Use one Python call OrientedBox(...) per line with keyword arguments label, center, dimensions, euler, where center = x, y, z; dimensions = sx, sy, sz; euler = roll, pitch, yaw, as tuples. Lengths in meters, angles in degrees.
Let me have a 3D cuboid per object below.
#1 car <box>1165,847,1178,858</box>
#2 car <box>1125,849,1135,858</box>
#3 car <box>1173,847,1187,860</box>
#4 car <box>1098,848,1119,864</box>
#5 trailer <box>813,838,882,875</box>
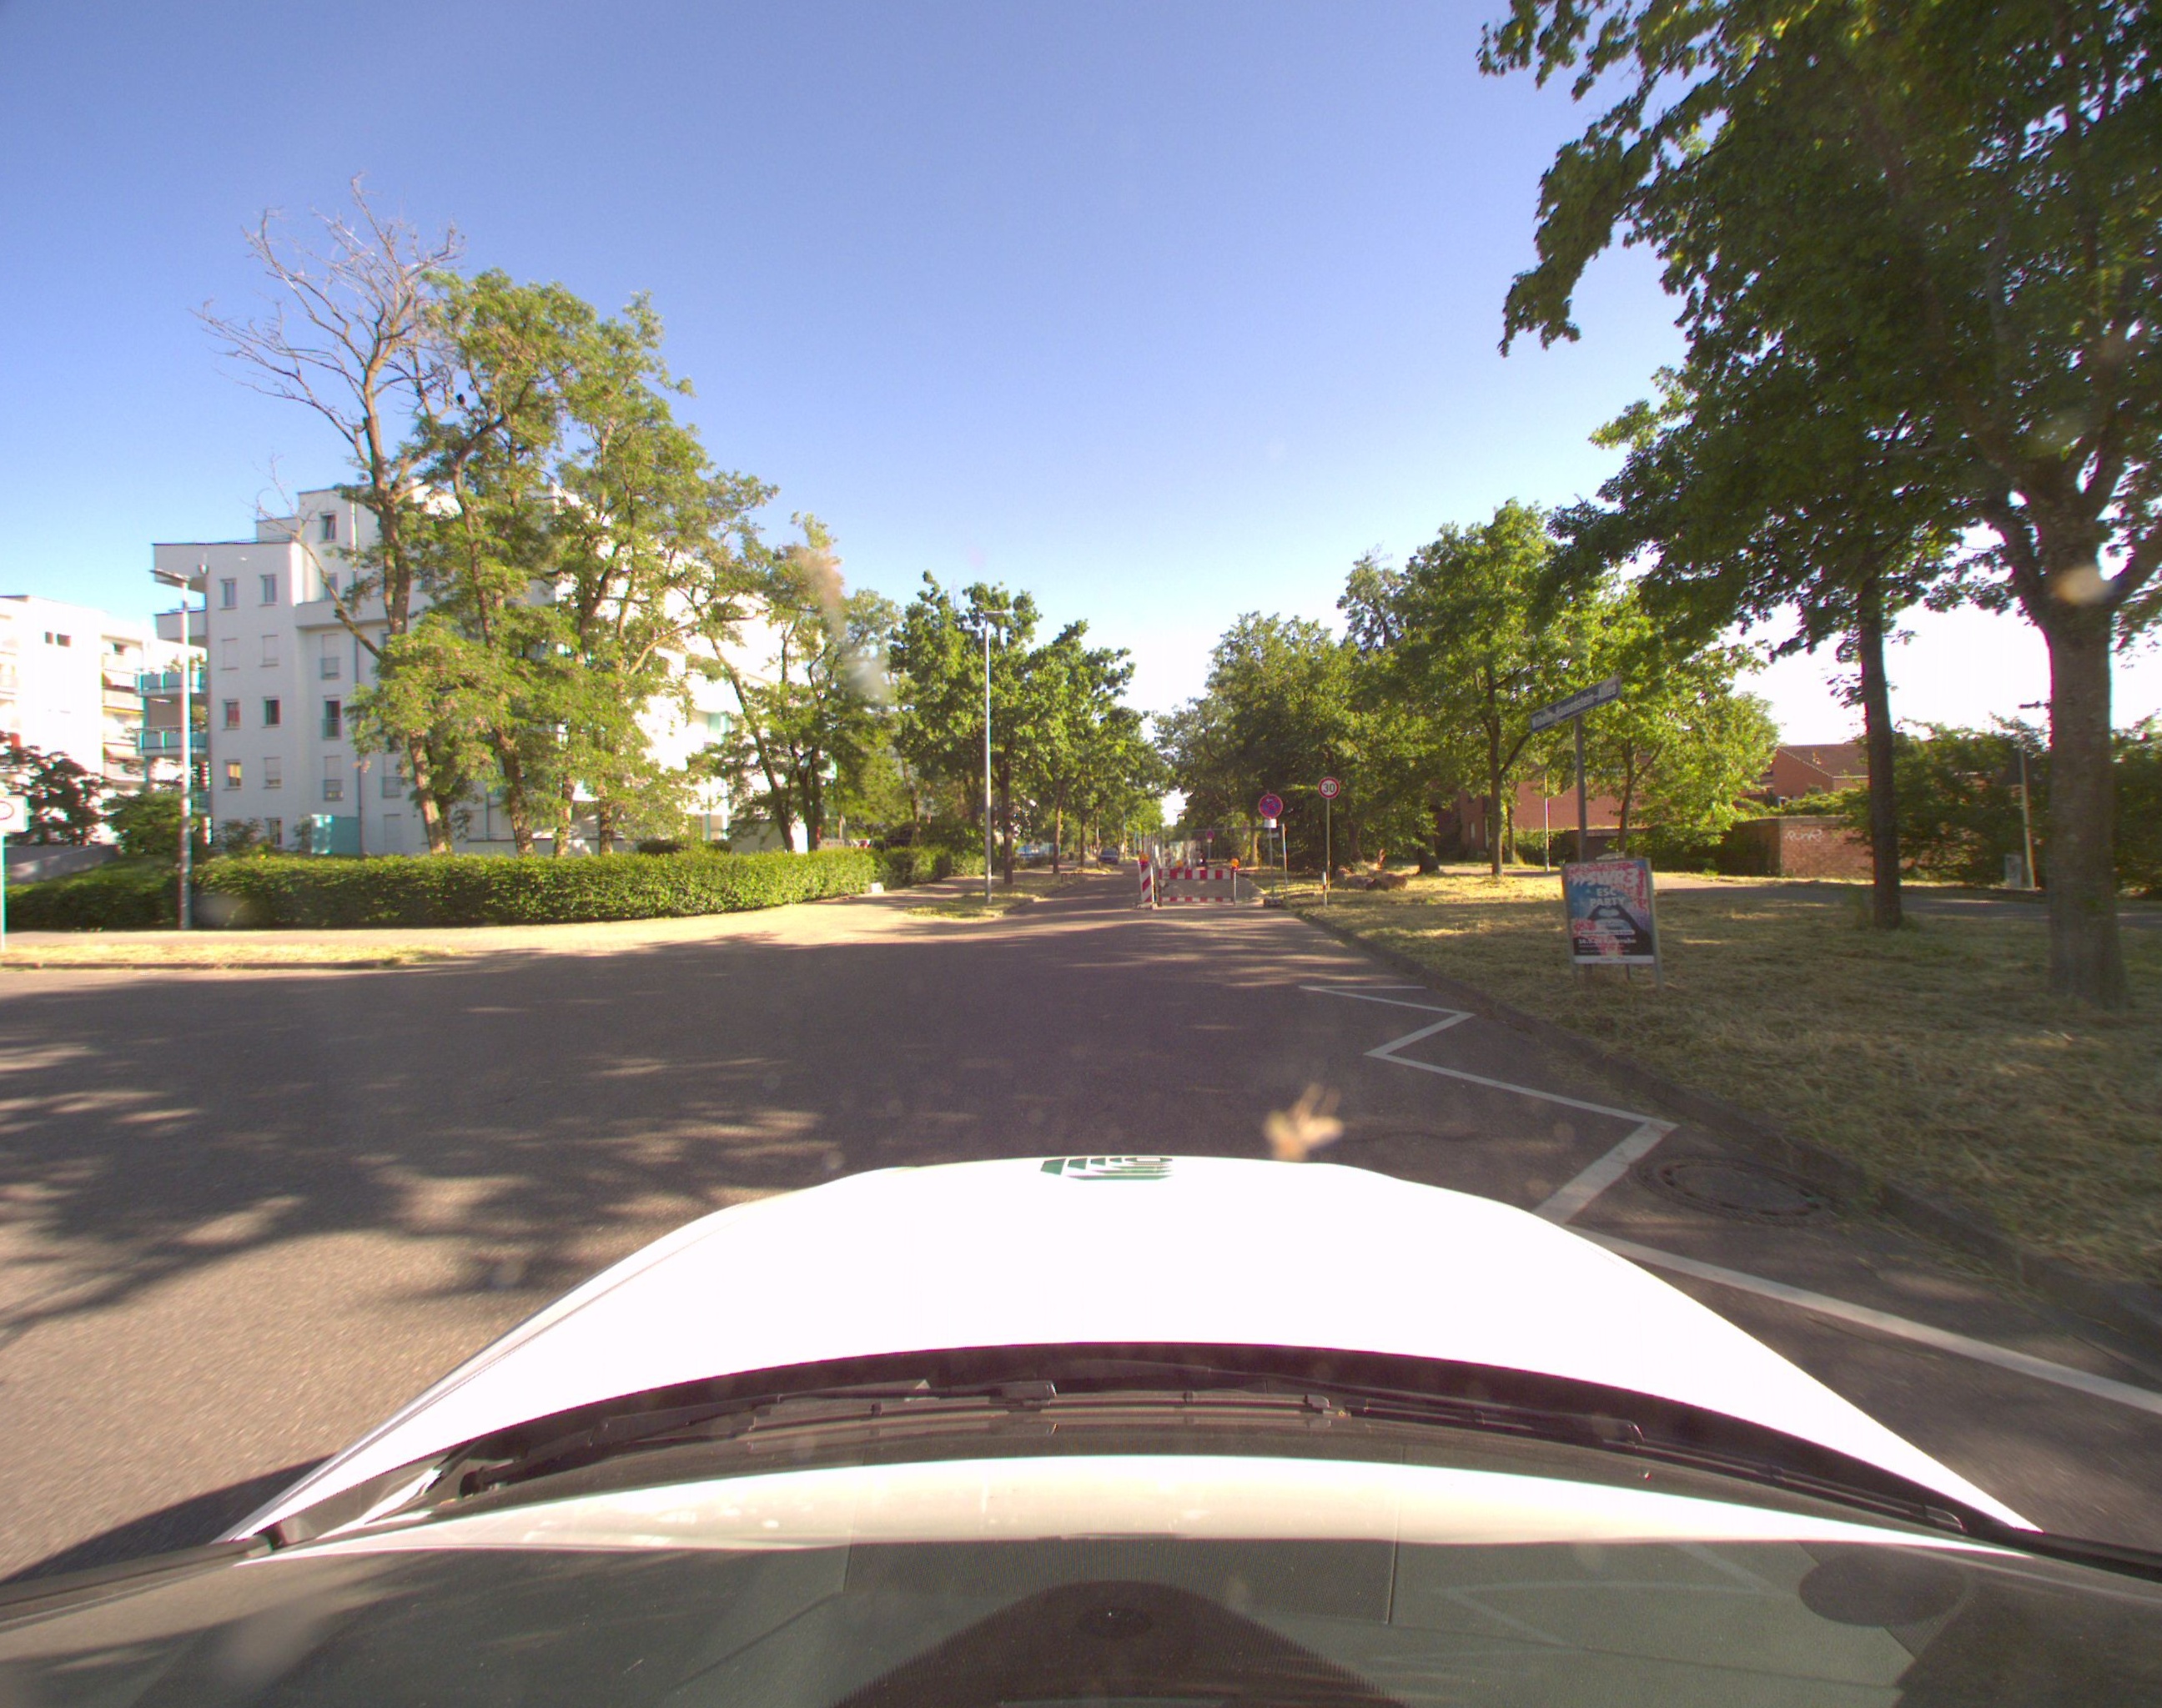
OrientedBox(label="car", center=(10.901, -0.121, 98.300), dimensions=(1.355, 1.302, 3.485), euler=(0, 0, 4))
OrientedBox(label="car", center=(6.687, -0.054, 111.356), dimensions=(1.355, 1.302, 3.485), euler=(0, 0, 4))
OrientedBox(label="car", center=(10.352, -0.045, 85.302), dimensions=(1.355, 1.302, 3.485), euler=(0, 0, 4))
OrientedBox(label="car", center=(2.632, 0.163, 76.408), dimensions=(1.742, 1.478, 3.842), euler=(-1, 0, 5))
OrientedBox(label="trailer", center=(-13.785, 0.126, 48.330), dimensions=(1.963, 2.042, 4.446), euler=(-1, 0, 13))
